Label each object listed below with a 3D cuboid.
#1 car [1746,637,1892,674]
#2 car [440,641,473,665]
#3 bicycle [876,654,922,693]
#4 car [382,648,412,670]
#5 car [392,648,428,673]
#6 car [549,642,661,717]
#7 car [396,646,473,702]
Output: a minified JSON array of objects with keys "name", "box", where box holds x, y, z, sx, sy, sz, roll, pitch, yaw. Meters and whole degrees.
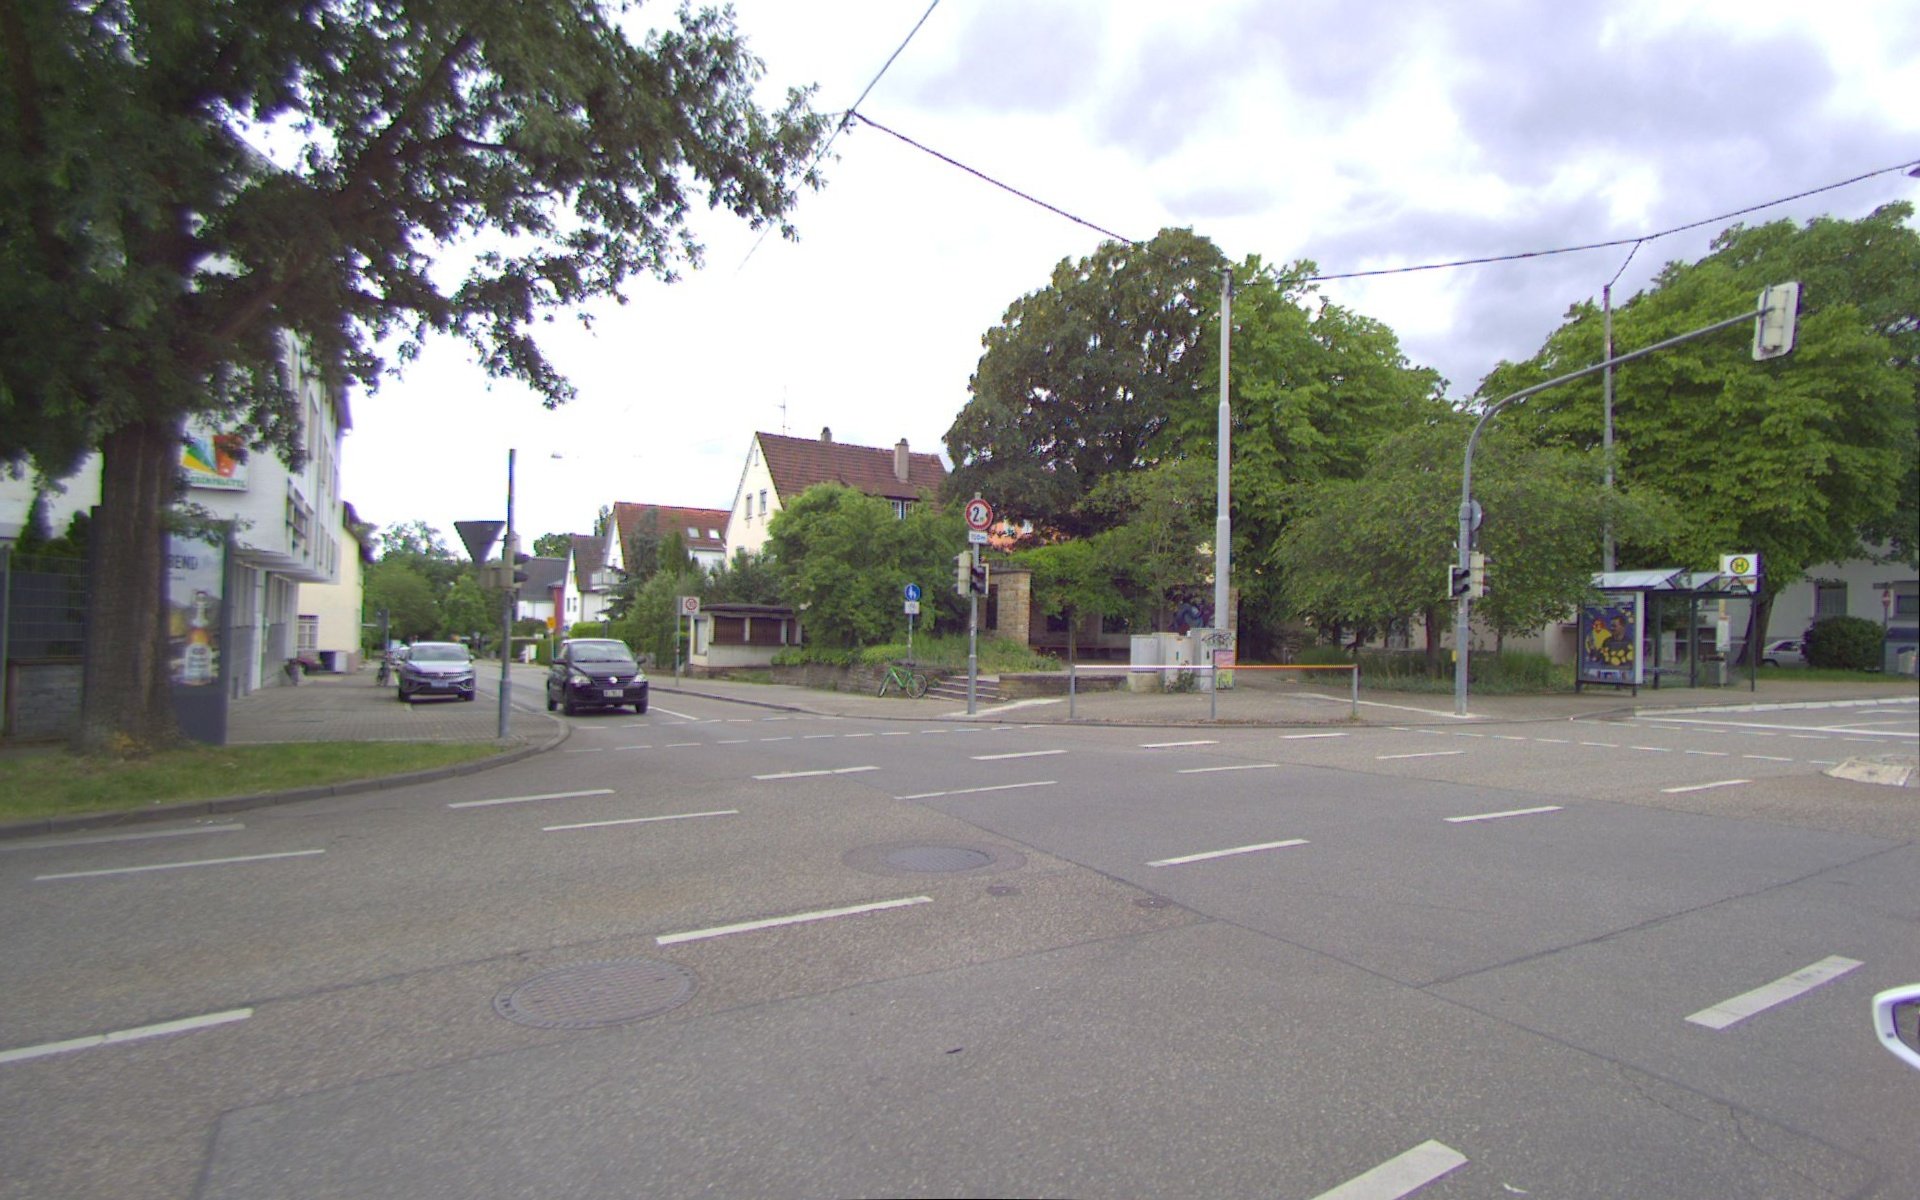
[{"name":"car","box":[33.210,2.163,38.953,1.700,1.349,3.974,2,-4,-26]},{"name":"car","box":[-34.605,3.629,69.018,1.722,1.537,3.966,1,-1,-31]},{"name":"bicycle","box":[-1.552,1.862,25.368,0.422,0.954,1.302,2,-5,-42]},{"name":"car","box":[-41.584,4.330,74.112,1.774,1.480,4.379,0,-2,-32]},{"name":"car","box":[-35.243,3.861,64.318,1.774,1.480,4.379,0,-2,-32]},{"name":"car","box":[-7.573,1.612,21.267,1.749,1.417,3.620,1,-2,-27]},{"name":"car","box":[-14.364,1.998,27.518,1.735,1.416,3.621,1,-4,-27]}]
